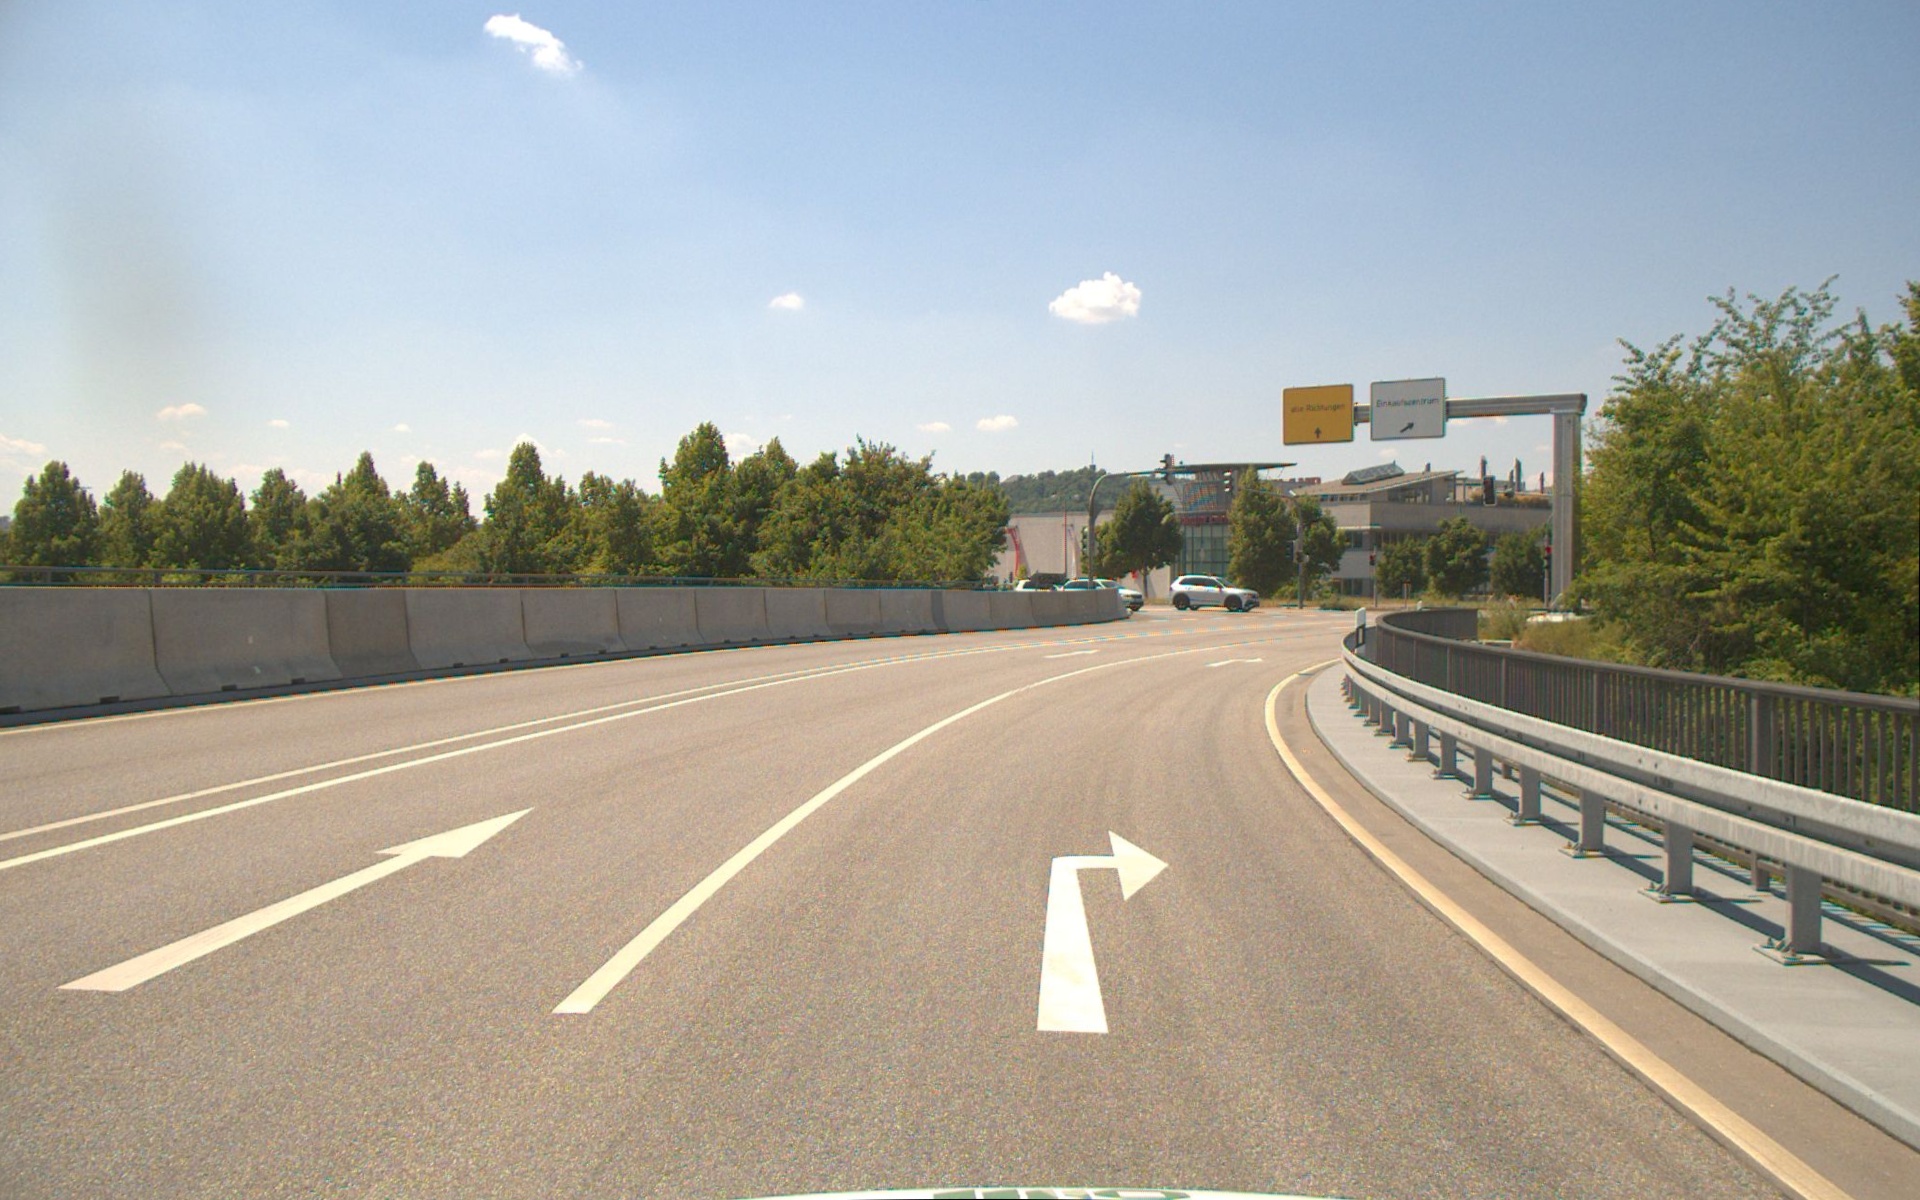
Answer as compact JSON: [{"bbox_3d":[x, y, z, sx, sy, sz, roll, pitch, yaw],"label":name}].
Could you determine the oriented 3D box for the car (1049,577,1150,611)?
[{"bbox_3d":[6.486,-0.300,77.141,4.461,1.521,1.786,1,1,36],"label":"car"}]

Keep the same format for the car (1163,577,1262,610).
[{"bbox_3d":[12.093,-0.283,79.109,4.297,1.532,1.998,0,0,27],"label":"car"}]

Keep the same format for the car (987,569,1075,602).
[{"bbox_3d":[3.641,-0.766,84.742,4.050,1.512,1.994,3,2,34],"label":"car"}]
